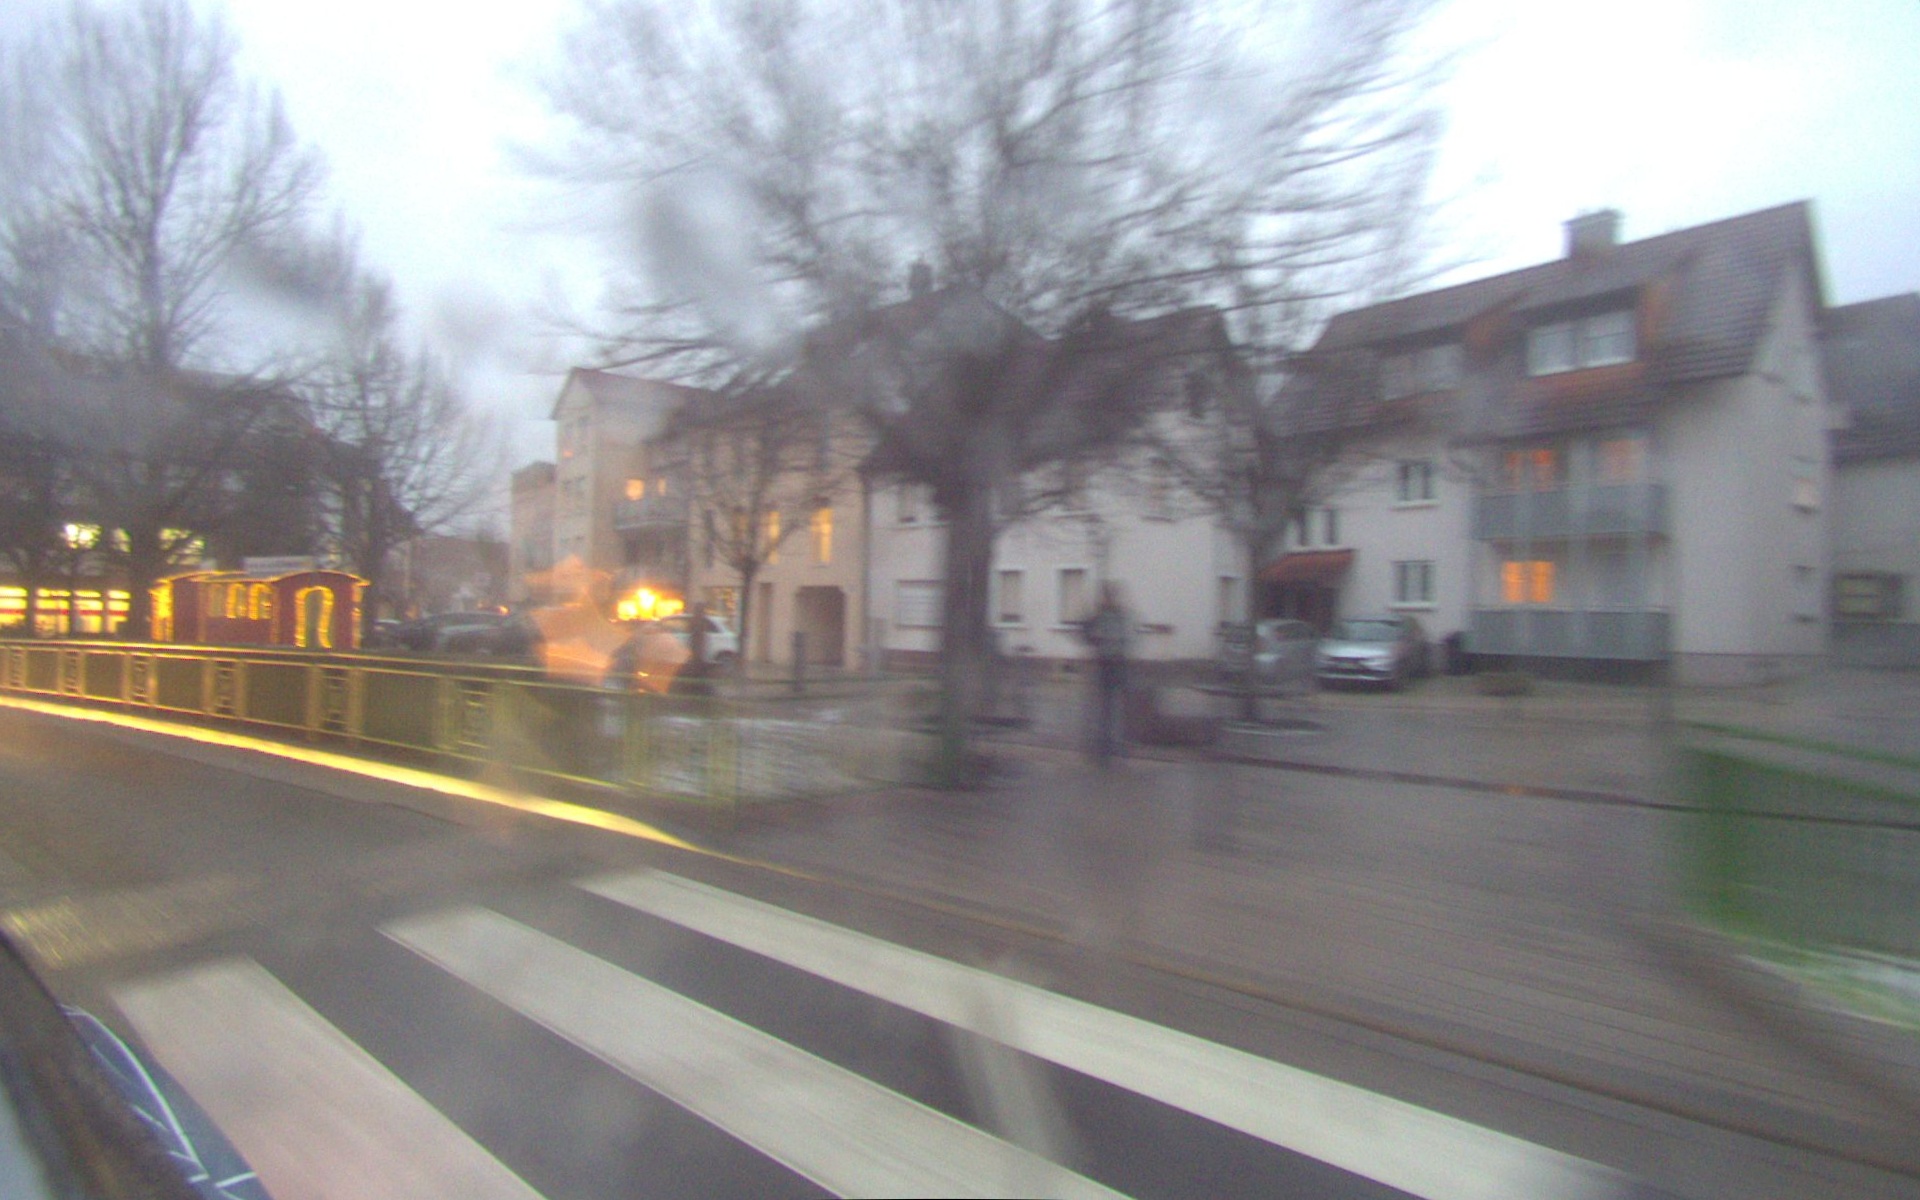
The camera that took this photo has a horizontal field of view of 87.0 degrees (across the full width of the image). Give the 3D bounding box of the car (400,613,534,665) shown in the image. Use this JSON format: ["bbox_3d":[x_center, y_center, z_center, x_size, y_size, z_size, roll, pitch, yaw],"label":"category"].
[{"bbox_3d":[-16.412,1.293,33.887,3.930,1.645,1.640,1,-2,-24],"label":"car"}]

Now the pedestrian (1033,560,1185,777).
[{"bbox_3d":[1.293,0.567,8.838,0.868,1.748,0.957,1,-2,-39],"label":"pedestrian"}]

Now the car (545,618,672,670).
[{"bbox_3d":[-9.066,1.101,26.149,3.003,1.229,1.615,-1,-1,-20],"label":"car"}]

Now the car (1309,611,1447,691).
[{"bbox_3d":[9.827,1.124,23.682,3.557,1.624,1.714,-2,0,-45],"label":"car"}]

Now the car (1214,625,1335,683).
[{"bbox_3d":[7.983,1.321,25.597,3.008,1.135,1.531,-5,2,-41],"label":"car"}]

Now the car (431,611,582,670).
[{"bbox_3d":[-13.370,1.163,29.882,3.931,1.645,1.639,1,-2,-29],"label":"car"}]

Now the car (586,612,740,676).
[{"bbox_3d":[-7.135,1.025,24.332,3.425,1.420,1.615,-1,-1,-18],"label":"car"}]

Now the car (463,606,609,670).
[{"bbox_3d":[-11.504,0.998,27.645,3.572,1.624,1.615,-1,-1,-20],"label":"car"}]
